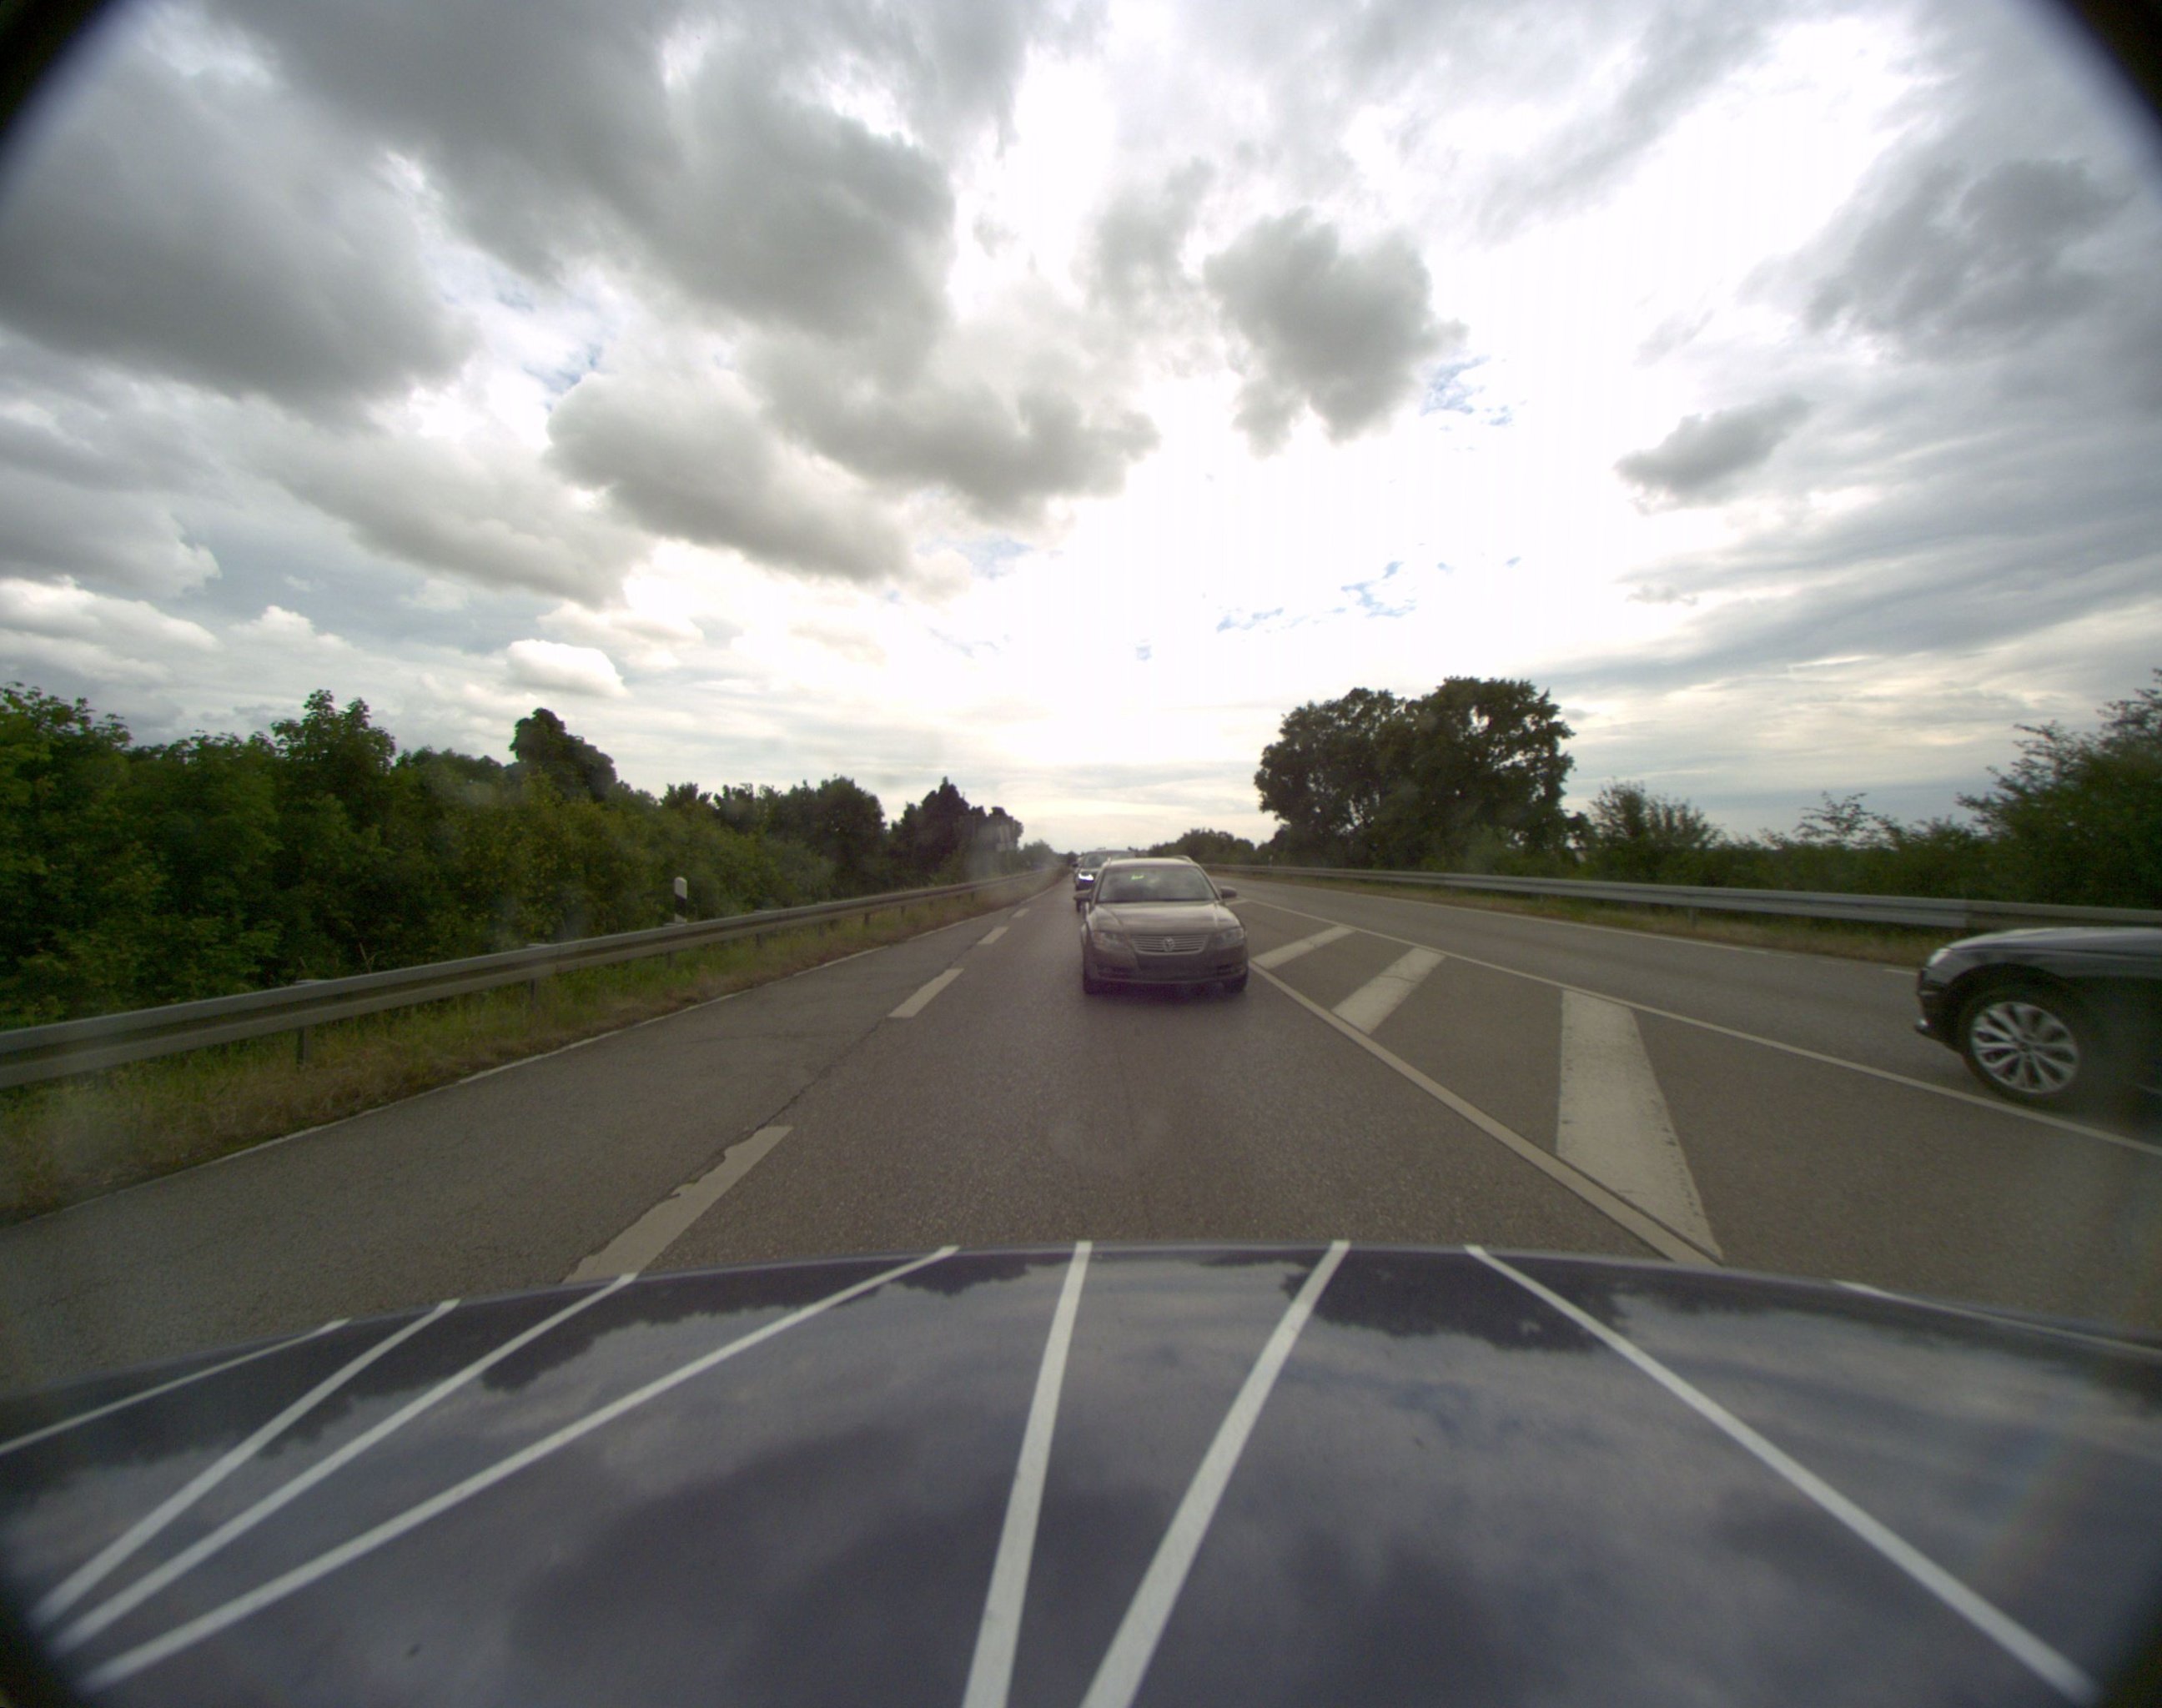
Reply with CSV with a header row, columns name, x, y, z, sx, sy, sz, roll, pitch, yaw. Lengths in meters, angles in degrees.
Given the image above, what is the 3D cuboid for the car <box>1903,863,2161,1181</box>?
name,x,y,z,sx,sy,sz,roll,pitch,yaw
car,5.714,0.775,2.176,1.825,1.366,4.611,-2,1,2

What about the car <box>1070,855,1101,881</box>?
name,x,y,z,sx,sy,sz,roll,pitch,yaw
car,0.307,0.858,47.609,1.834,1.537,4.035,-1,0,1

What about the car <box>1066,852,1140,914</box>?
name,x,y,z,sx,sy,sz,roll,pitch,yaw
car,0.591,0.734,21.356,1.834,1.537,4.035,-1,0,1

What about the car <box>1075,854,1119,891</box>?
name,x,y,z,sx,sy,sz,roll,pitch,yaw
car,0.728,0.779,34.350,1.834,1.537,4.035,-1,0,1

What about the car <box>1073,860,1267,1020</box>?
name,x,y,z,sx,sy,sz,roll,pitch,yaw
car,0.866,0.823,9.144,1.784,1.442,4.035,-1,0,1

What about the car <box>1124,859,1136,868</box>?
name,x,y,z,sx,sy,sz,roll,pitch,yaw
car,7.982,1.590,124.910,1.675,1.421,4.257,-1,0,0
